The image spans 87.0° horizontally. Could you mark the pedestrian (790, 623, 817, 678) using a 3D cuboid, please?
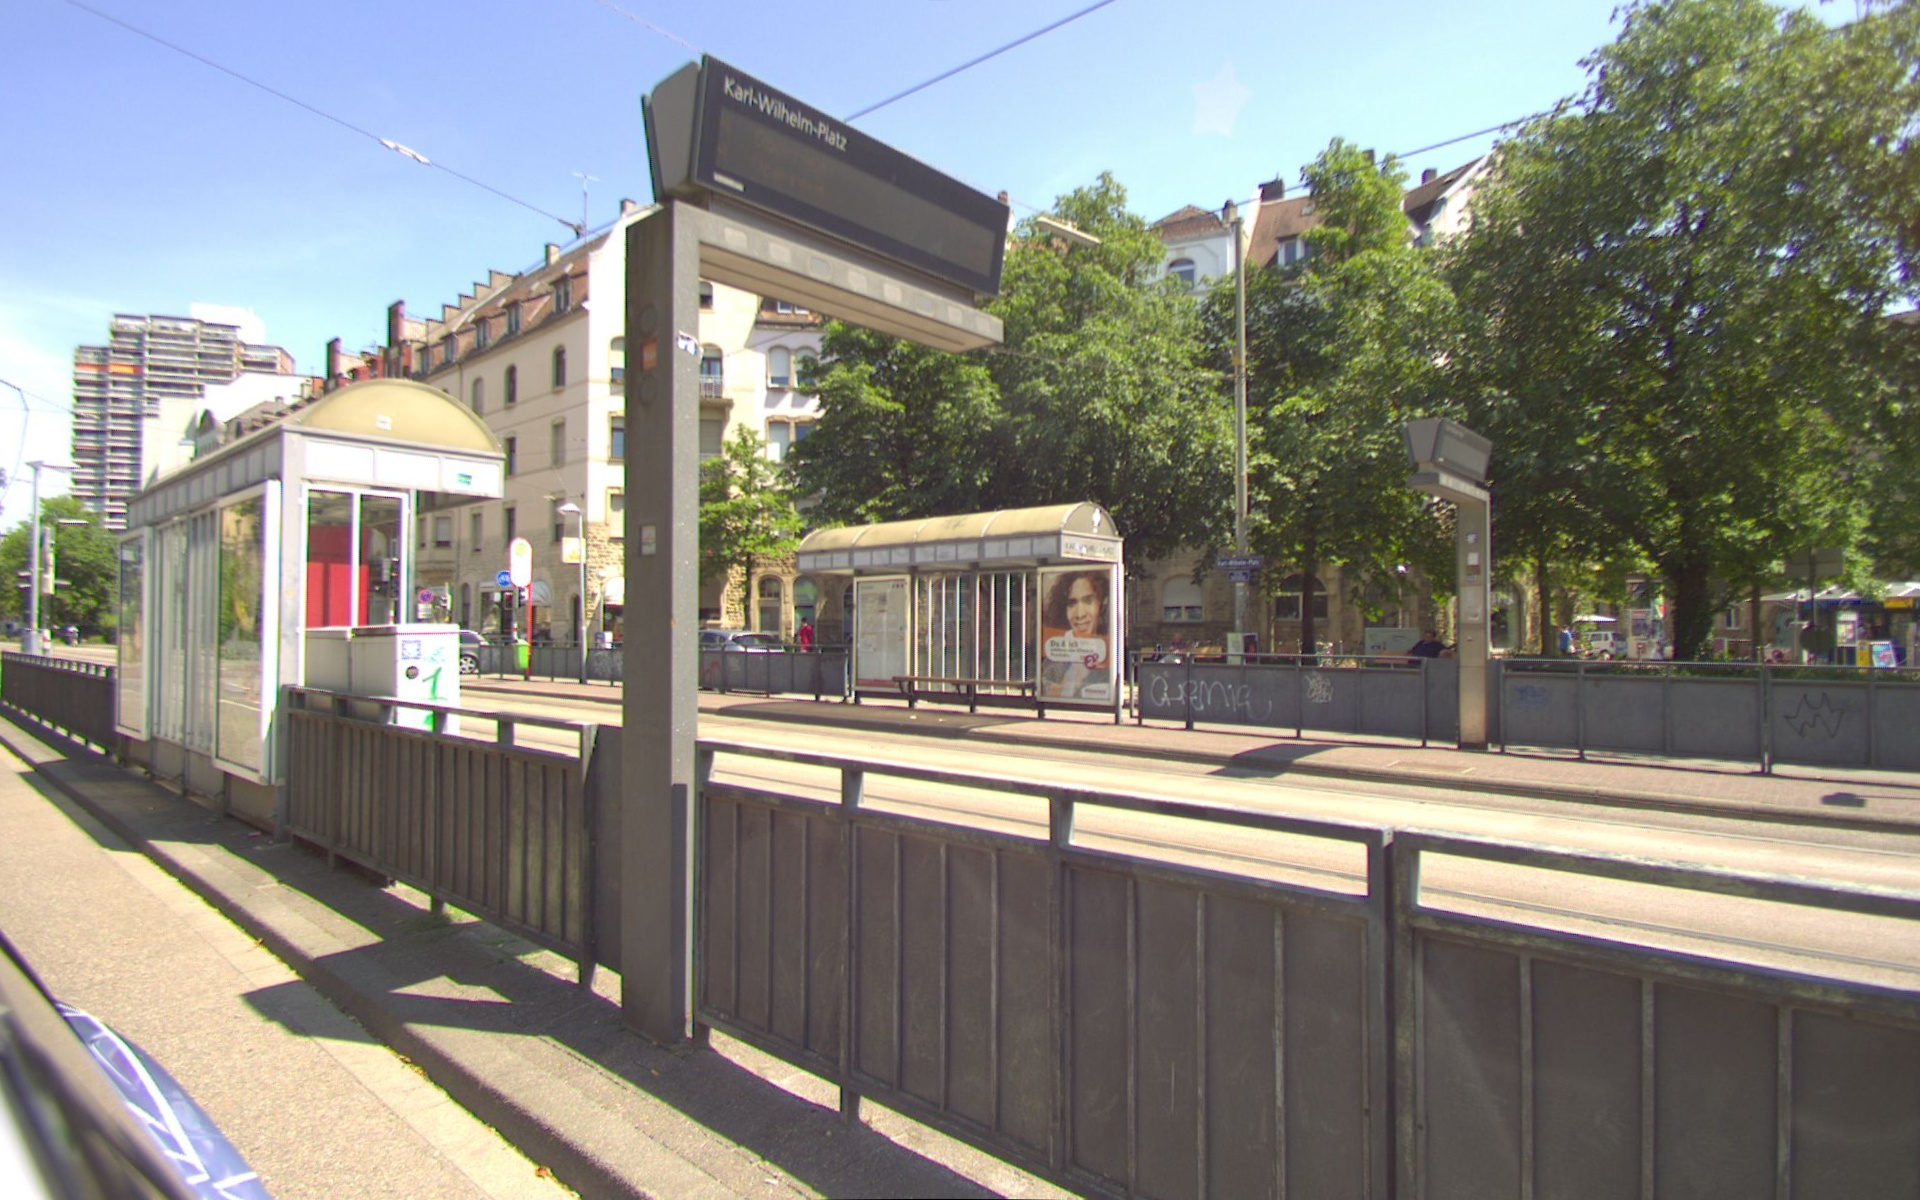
[{"bbox_3d":[-4.495,1.436,29.090,0.473,1.563,0.586,-2,-3,39],"label":"pedestrian"}]

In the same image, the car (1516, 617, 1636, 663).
[{"bbox_3d":[26.713,1.693,44.014,1.966,1.803,4.011,-1,0,-33],"label":"car"}]

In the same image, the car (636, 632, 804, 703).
[{"bbox_3d":[-5.602,1.482,23.364,3.998,1.404,1.789,-1,0,41],"label":"car"}]

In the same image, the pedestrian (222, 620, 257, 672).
[{"bbox_3d":[-25.722,1.643,36.148,0.673,1.837,0.828,-2,-3,39],"label":"pedestrian"}]

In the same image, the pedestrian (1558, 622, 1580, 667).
[{"bbox_3d":[22.957,1.682,38.147,0.483,1.683,0.517,1,-2,-27],"label":"pedestrian"}]

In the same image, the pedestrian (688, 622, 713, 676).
[{"bbox_3d":[-8.061,1.507,31.456,0.474,1.659,0.586,-2,-3,45],"label":"pedestrian"}]

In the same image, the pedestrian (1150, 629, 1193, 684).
[{"bbox_3d":[5.089,1.348,24.318,0.930,1.253,0.860,-1,0,17],"label":"pedestrian"}]

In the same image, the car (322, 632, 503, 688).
[{"bbox_3d":[-17.365,1.871,32.399,4.948,1.493,1.945,-1,0,-23],"label":"car"}]

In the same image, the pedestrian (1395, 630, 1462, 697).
[{"bbox_3d":[9.279,1.232,20.043,0.852,1.253,0.939,-1,0,-43],"label":"pedestrian"}]

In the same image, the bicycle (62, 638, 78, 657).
[{"bbox_3d":[-72.324,3.836,82.247,1.969,1.524,0.636,-1,0,39],"label":"bicycle"}]

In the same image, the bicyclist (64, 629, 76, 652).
[{"bbox_3d":[-72.332,3.279,82.238,0.715,1.889,0.636,-1,0,39],"label":"bicyclist"}]

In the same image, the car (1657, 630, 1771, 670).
[{"bbox_3d":[35.782,2.337,48.107,1.736,1.721,3.998,-1,0,-33],"label":"car"}]
